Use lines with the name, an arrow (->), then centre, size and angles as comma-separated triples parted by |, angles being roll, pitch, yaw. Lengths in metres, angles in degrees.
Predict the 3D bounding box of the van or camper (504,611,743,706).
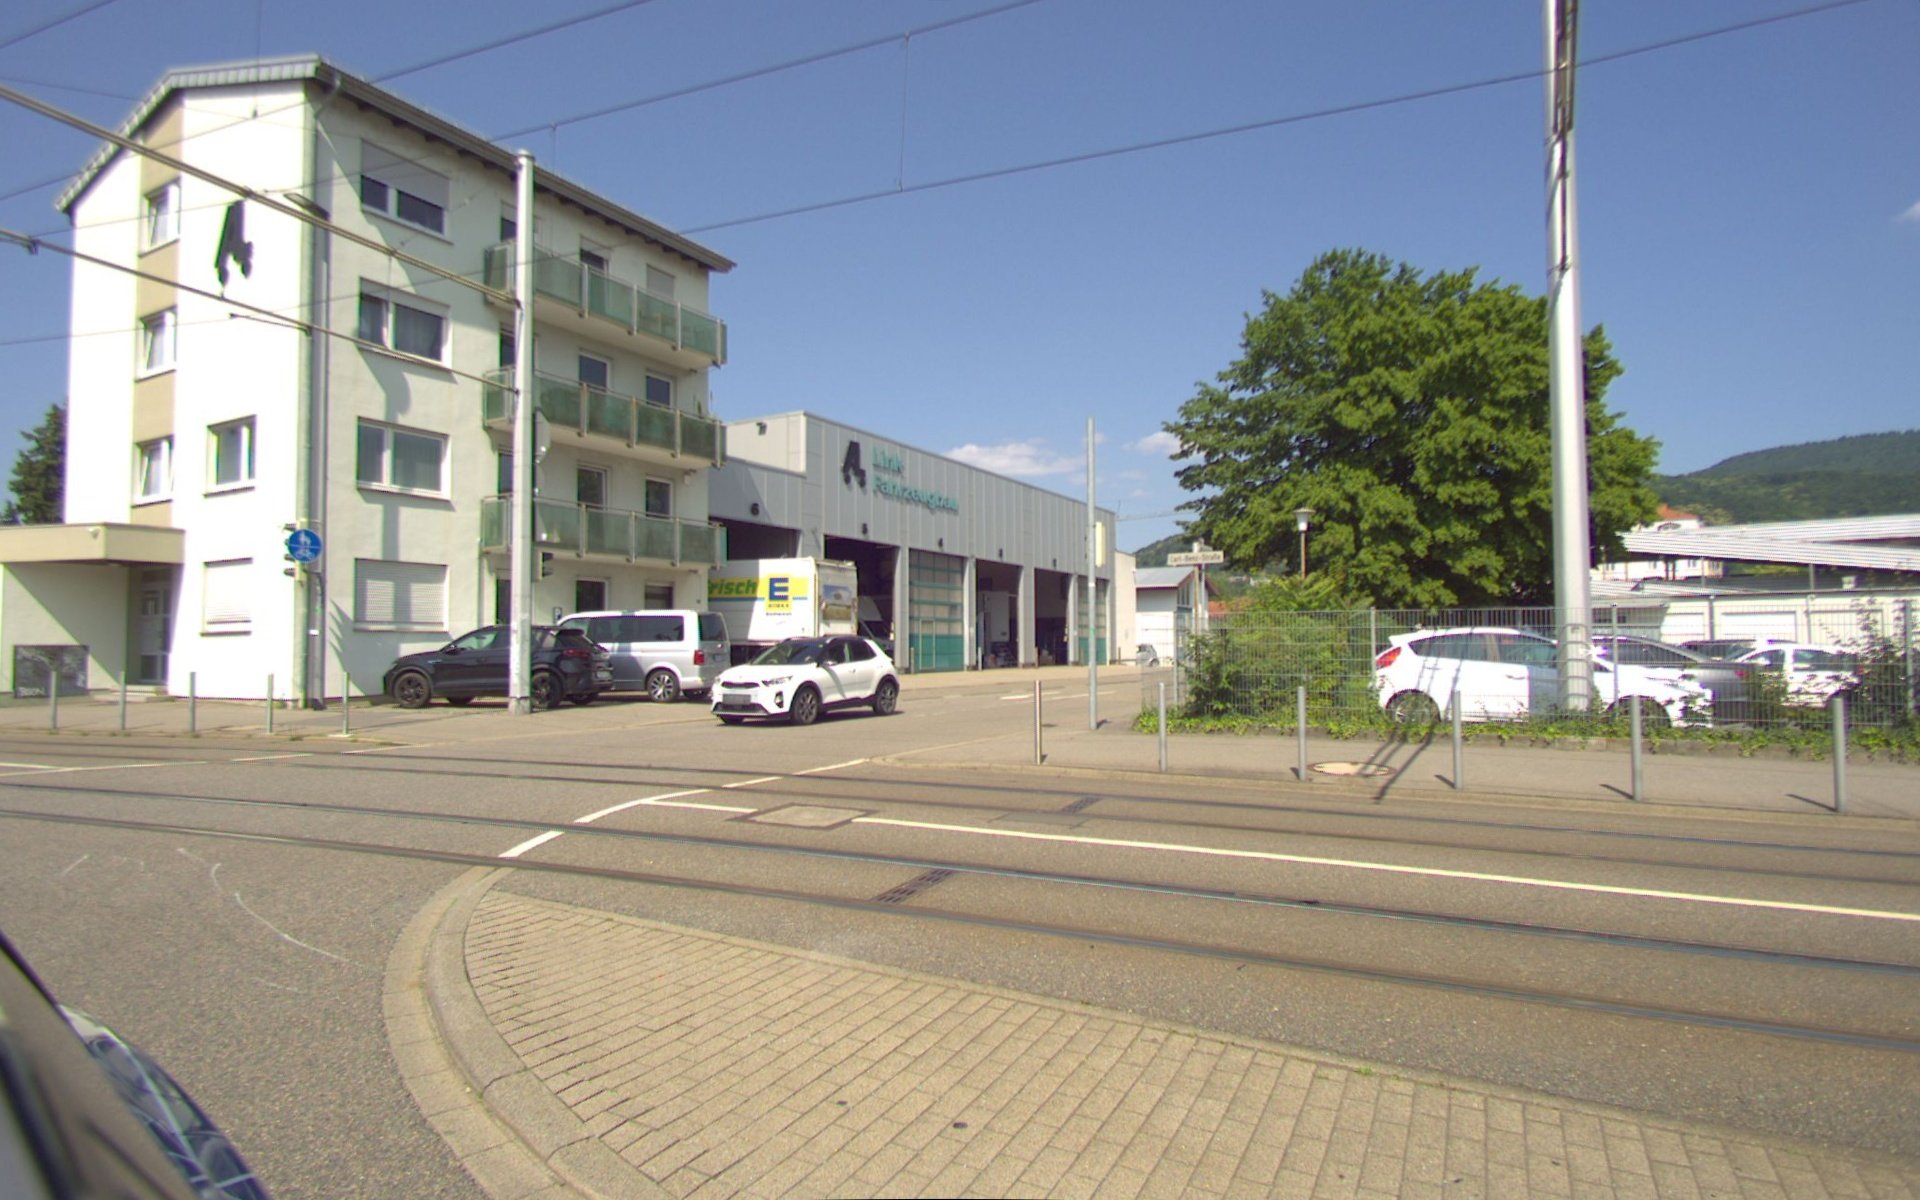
van or camper -> -7.222, 1.241, 21.933 | 4.505, 1.922, 1.994 | 0, -3, 10

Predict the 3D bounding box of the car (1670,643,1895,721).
car -> 16.861, 1.650, 20.958 | 3.378, 1.496, 1.501 | -2, -3, 32

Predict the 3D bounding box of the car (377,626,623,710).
car -> -8.777, 1.298, 19.533 | 3.923, 1.533, 1.877 | -1, -3, 5

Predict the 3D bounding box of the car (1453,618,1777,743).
car -> 9.680, 1.137, 15.108 | 3.833, 1.633, 1.746 | -3, -3, 40

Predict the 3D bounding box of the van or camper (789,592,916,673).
van or camper -> -4.514, 1.418, 42.318 | 5.035, 3.230, 1.981 | -2, -3, 28

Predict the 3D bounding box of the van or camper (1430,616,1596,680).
van or camper -> 18.588, 1.613, 34.142 | 4.637, 2.023, 1.974 | -2, -3, 38

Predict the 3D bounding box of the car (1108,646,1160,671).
car -> 10.636, 3.587, 61.927 | 2.775, 1.546, 1.316 | 1, -5, -17

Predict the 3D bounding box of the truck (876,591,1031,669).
truck -> -0.407, 1.594, 52.433 | 7.832, 3.811, 2.597 | -1, -3, 31

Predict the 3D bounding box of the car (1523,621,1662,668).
car -> 22.009, 1.554, 35.300 | 3.990, 1.567, 1.976 | -2, -3, 35

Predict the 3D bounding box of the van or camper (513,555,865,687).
van or camper -> -8.722, 0.755, 31.963 | 11.563, 3.721, 2.759 | -1, -3, 23

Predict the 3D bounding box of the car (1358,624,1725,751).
car -> 7.485, 1.044, 13.325 | 3.942, 1.444, 1.694 | -1, -2, 32

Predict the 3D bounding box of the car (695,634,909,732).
car -> -2.683, 1.395, 18.134 | 1.729, 1.542, 4.070 | -2, -3, 28
